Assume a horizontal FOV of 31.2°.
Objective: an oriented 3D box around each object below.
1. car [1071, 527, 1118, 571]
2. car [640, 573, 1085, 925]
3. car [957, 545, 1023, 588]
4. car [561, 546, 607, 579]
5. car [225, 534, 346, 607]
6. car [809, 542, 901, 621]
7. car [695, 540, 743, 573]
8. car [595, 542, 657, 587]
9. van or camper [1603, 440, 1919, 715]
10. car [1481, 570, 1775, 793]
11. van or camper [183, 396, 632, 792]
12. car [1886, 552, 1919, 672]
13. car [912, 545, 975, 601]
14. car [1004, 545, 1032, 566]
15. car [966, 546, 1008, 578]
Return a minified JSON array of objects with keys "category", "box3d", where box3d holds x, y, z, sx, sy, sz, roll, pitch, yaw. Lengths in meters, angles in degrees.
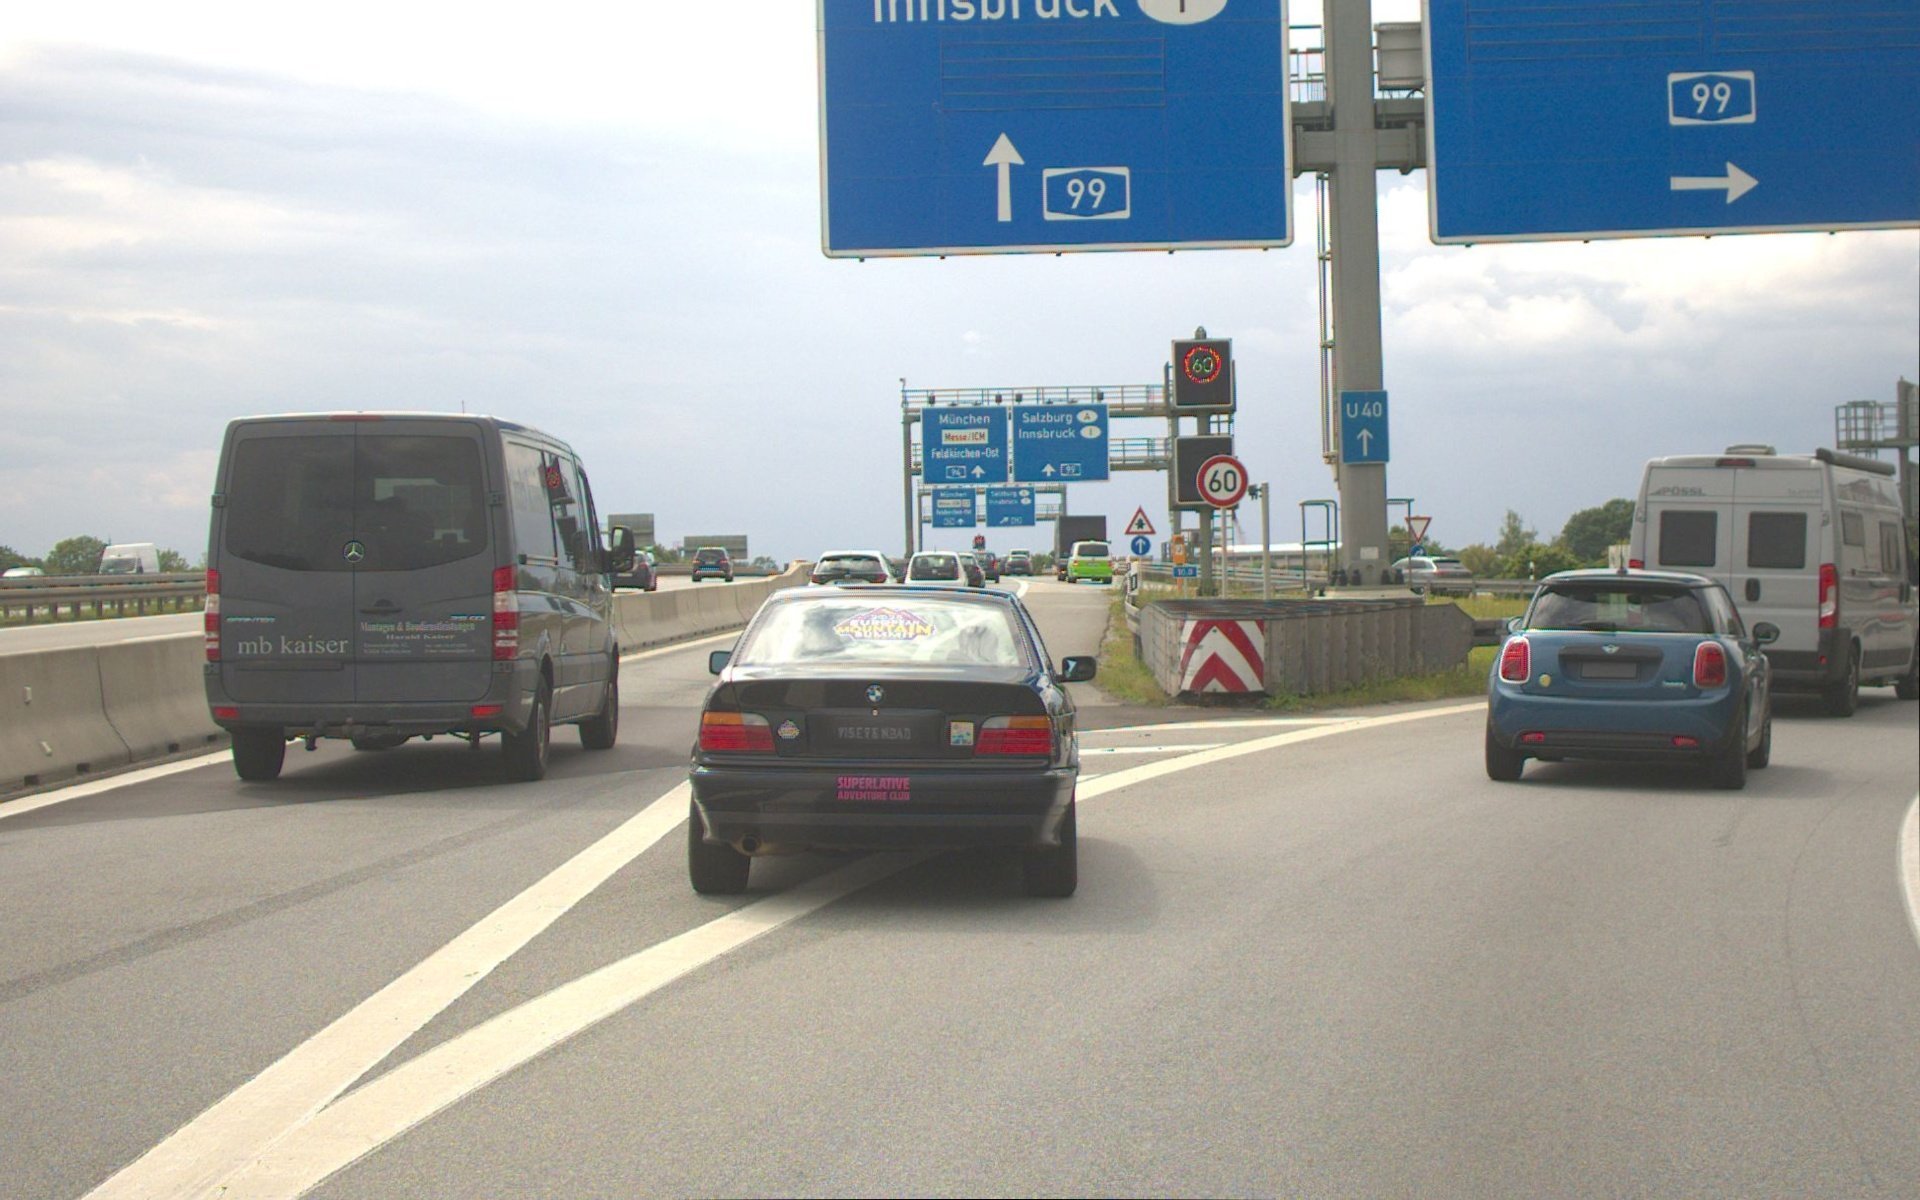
[{"category":"car","box3d":[6.279,-2.395,160.469,1.993,2.007,4.000,0,1,-1]},{"category":"car","box3d":[-0.342,0.586,15.884,1.782,1.373,4.137,0,1,1]},{"category":"car","box3d":[1.051,-1.168,118.135,1.994,1.463,4.000,0,1,4]},{"category":"car","box3d":[-16.161,-1.616,147.800,1.552,1.371,4.000,0,1,0]},{"category":"car","box3d":[-15.540,-0.693,79.466,1.901,1.634,4.645,0,1,0]},{"category":"car","box3d":[-2.043,-0.384,67.947,1.701,1.503,3.840,0,1,0]},{"category":"car","box3d":[-12.341,-2.249,176.276,1.993,1.678,4.866,0,1,1]},{"category":"car","box3d":[-11.714,-1.252,120.690,1.774,1.525,4.000,0,1,0]},{"category":"van or camper","box3d":[8.418,-0.265,35.274,2.296,2.559,6.153,0,1,23]},{"category":"car","box3d":[4.742,0.510,24.070,1.730,1.414,3.663,1,1,15]},{"category":"van or camper","box3d":[-3.601,-0.083,23.648,1.999,2.362,6.126,0,1,1]},{"category":"car","box3d":[13.761,0.120,44.390,2.210,1.496,4.779,0,1,32]},{"category":"car","box3d":[-0.433,-0.756,93.100,1.585,1.478,3.535,0,1,1]},{"category":"car","box3d":[3.956,-3.046,233.224,1.803,1.419,4.000,0,1,3]},{"category":"car","box3d":[1.251,-1.747,156.768,1.866,1.419,4.000,0,1,1]}]
